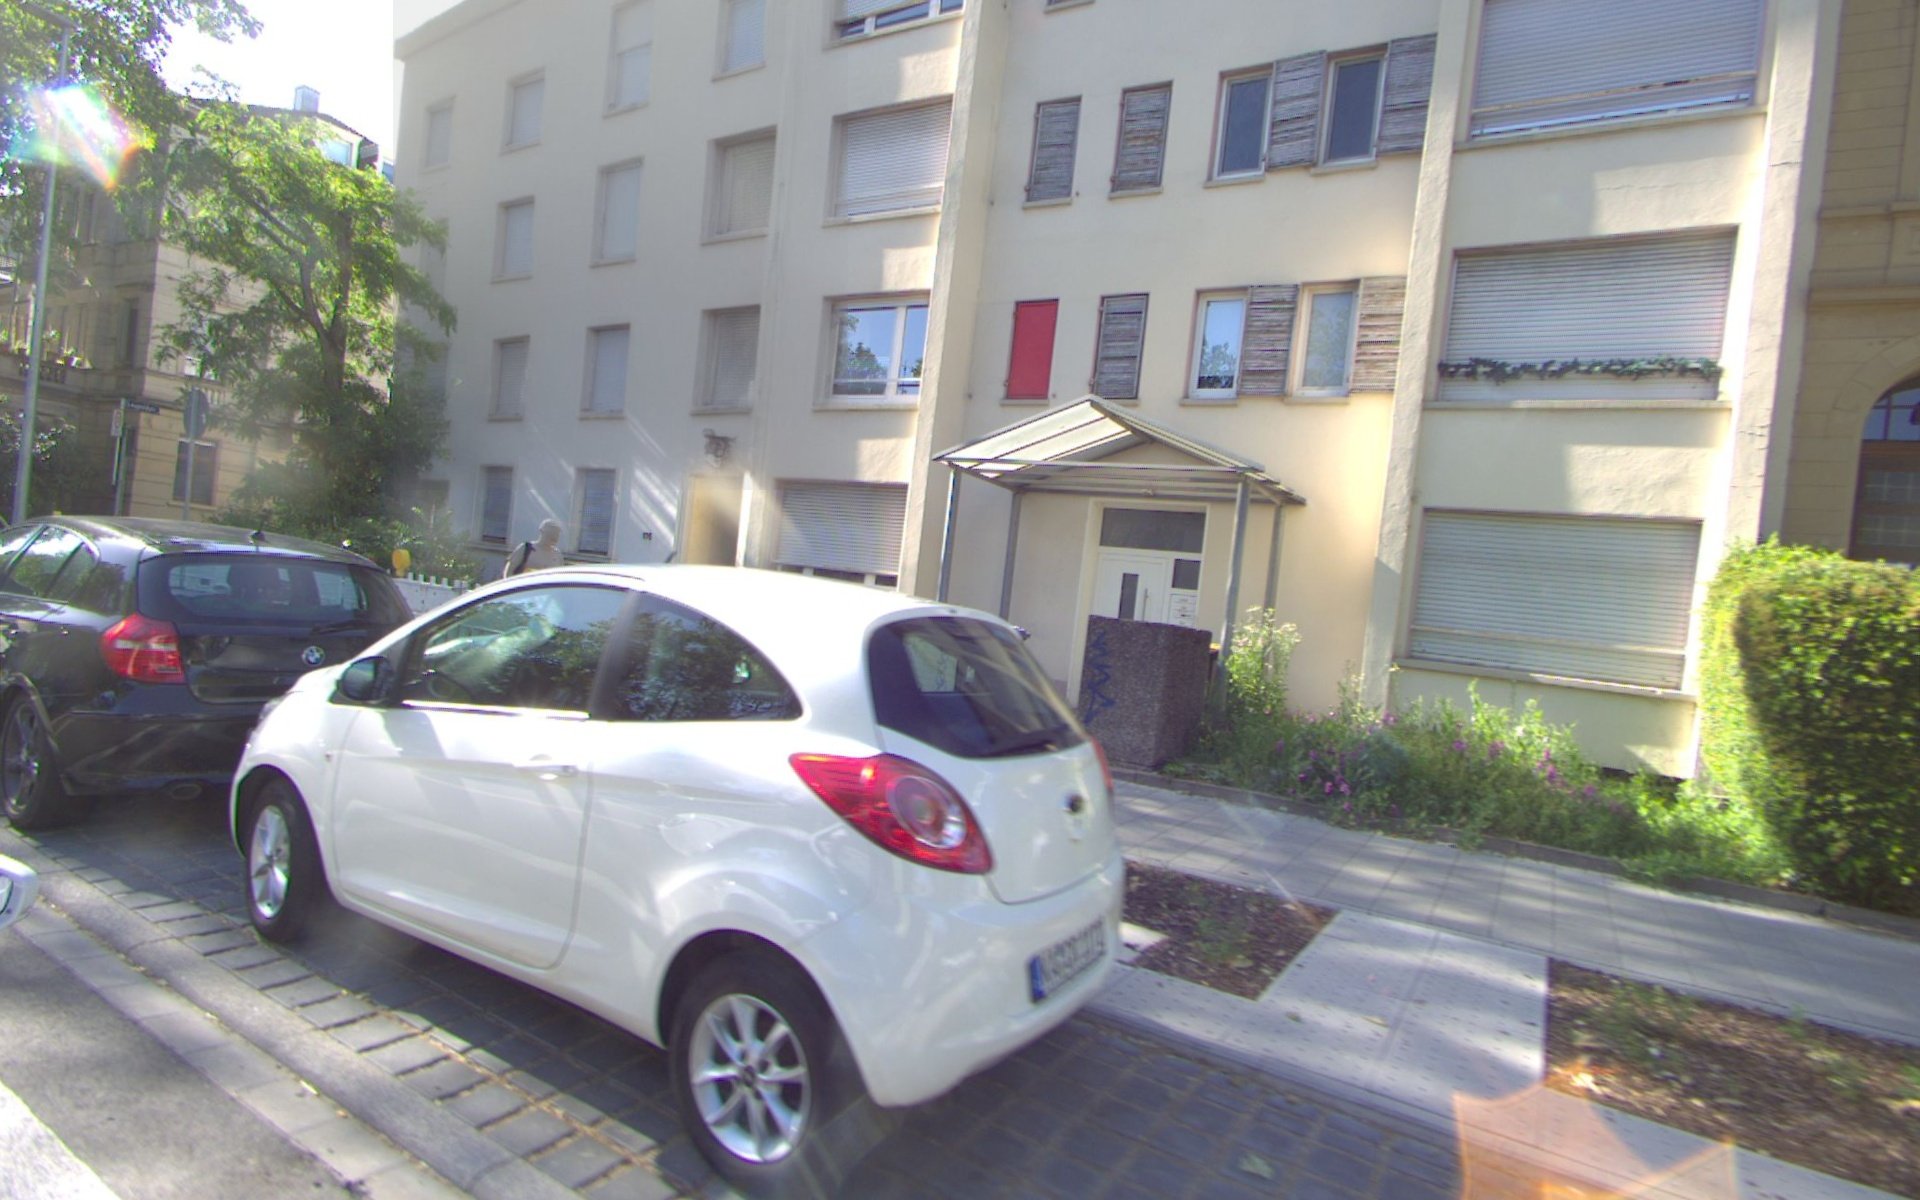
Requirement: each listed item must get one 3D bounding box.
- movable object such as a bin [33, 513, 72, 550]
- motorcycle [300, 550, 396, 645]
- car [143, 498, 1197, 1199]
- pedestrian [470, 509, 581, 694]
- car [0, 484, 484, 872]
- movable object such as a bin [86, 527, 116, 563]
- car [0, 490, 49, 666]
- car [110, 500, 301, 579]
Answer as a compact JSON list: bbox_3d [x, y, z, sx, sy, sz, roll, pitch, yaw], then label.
[{"bbox_3d":[-26.915,-2.040,29.842,0.539,0.982,0.687,7,0,34],"label":"movable object such as a bin"},{"bbox_3d":[-8.840,-0.048,14.505,1.532,1.201,0.596,6,0,38],"label":"motorcycle"},{"bbox_3d":[-1.230,0.561,3.732,3.672,1.505,1.621,6,1,32],"label":"car"},{"bbox_3d":[-4.666,0.022,10.808,0.683,1.872,0.665,7,1,31],"label":"pedestrian"},{"bbox_3d":[-4.711,0.183,5.733,3.989,1.505,1.621,6,1,32],"label":"car"},{"bbox_3d":[-25.505,-1.628,29.872,0.392,0.982,0.519,7,0,34],"label":"movable object such as a bin"},{"bbox_3d":[-10.216,-0.401,9.252,4.029,1.505,1.621,6,1,32],"label":"car"},{"bbox_3d":[-21.839,-1.724,29.266,1.842,1.580,3.934,9,0,33],"label":"car"}]
